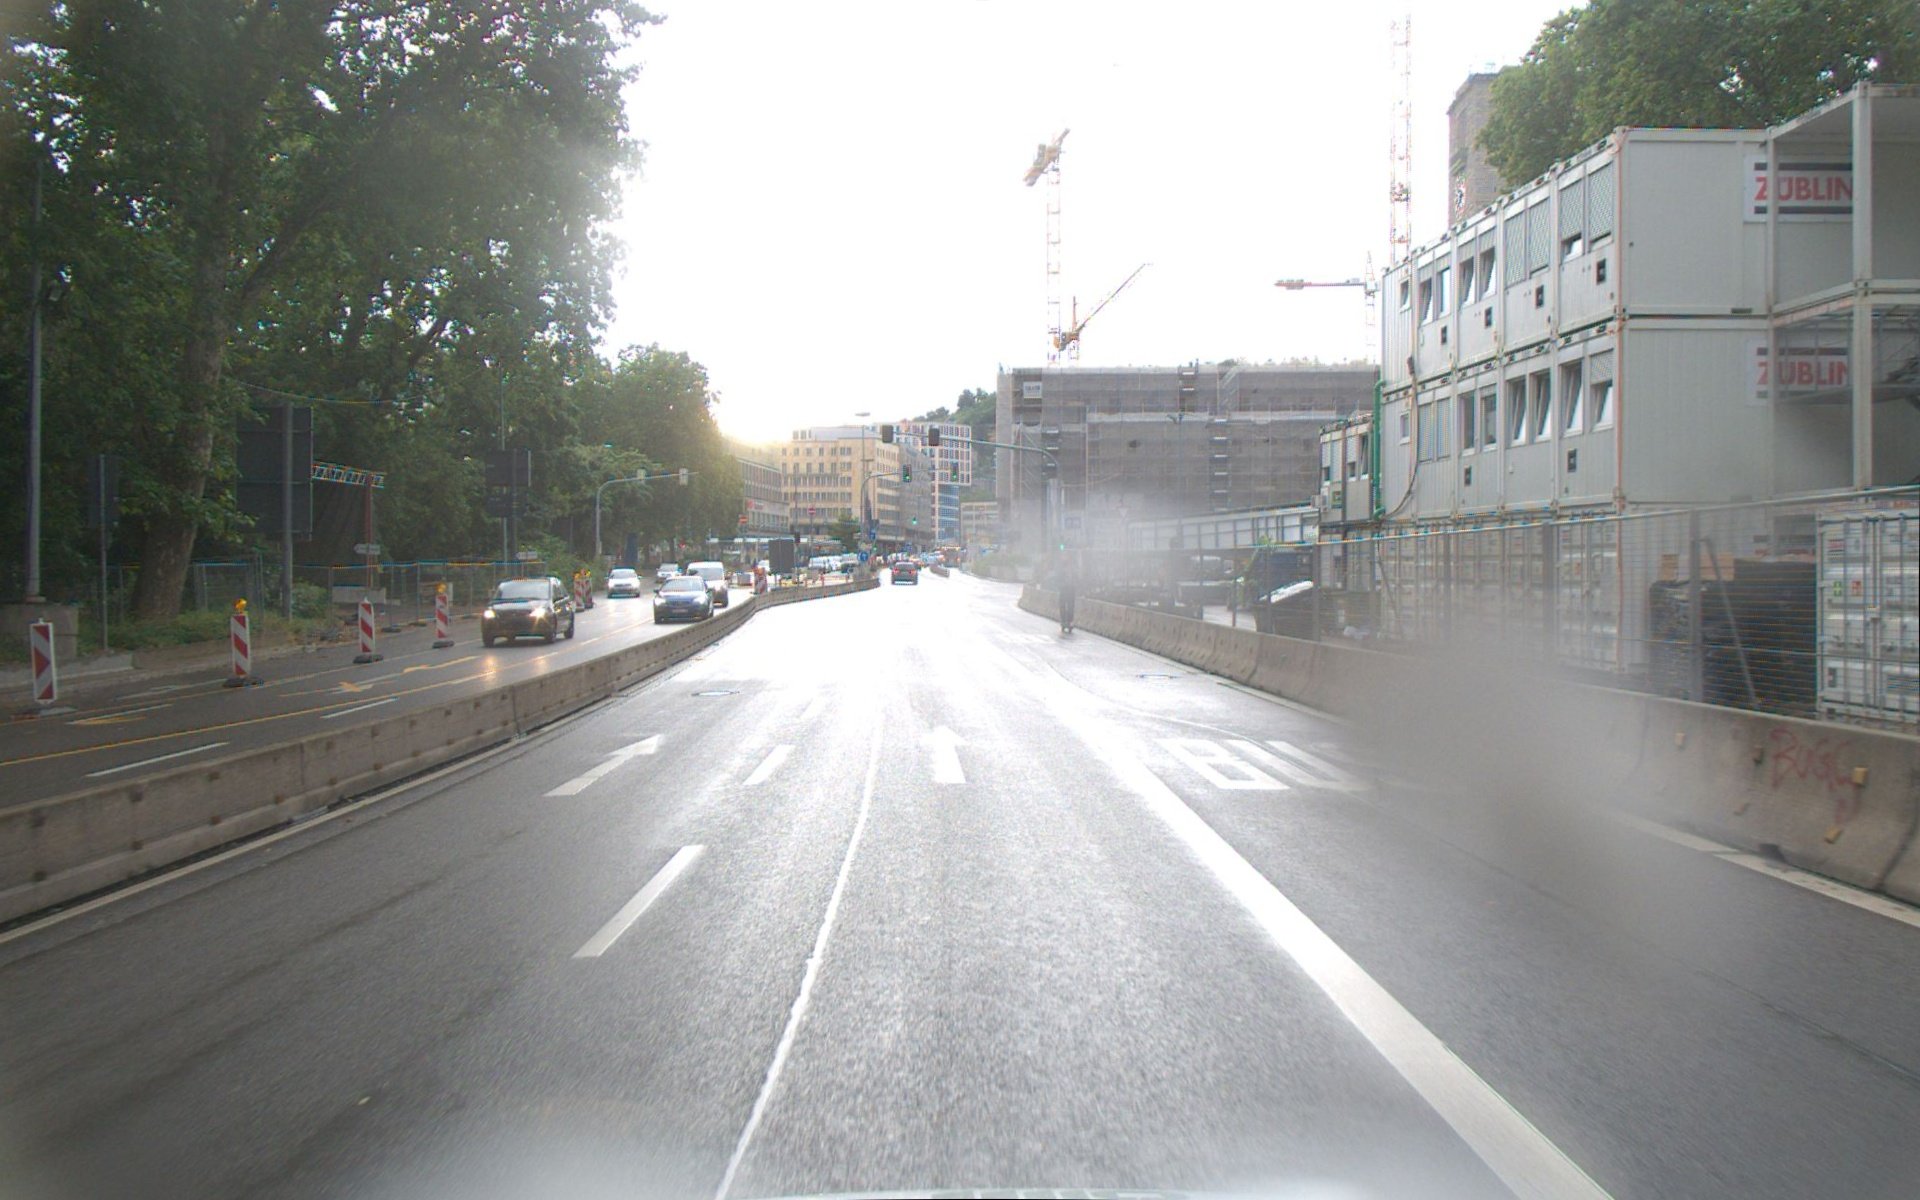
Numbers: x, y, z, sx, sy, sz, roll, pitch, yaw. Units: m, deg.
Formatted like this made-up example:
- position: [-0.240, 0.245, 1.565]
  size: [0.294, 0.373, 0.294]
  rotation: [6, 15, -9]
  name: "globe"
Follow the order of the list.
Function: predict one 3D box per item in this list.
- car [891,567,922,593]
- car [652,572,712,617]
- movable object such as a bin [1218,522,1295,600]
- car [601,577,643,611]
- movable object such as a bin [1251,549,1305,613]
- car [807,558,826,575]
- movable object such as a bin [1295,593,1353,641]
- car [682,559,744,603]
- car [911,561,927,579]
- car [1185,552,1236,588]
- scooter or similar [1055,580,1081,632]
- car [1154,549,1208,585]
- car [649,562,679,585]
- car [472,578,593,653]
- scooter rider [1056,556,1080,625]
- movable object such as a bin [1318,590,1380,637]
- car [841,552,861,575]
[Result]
- position: [-3.646, -1.308, 111.808]
  size: [1.865, 1.554, 4.173]
  rotation: [-2, -1, -5]
  name: "car"
- position: [-9.022, -0.184, 53.916]
  size: [1.679, 1.362, 4.055]
  rotation: [-2, 1, -7]
  name: "car"
- position: [11.272, -1.520, 63.069]
  size: [1.772, 2.858, 3.861]
  rotation: [0, 2, -7]
  name: "movable object such as a bin"
- position: [-18.458, -0.301, 90.375]
  size: [1.840, 1.736, 3.994]
  rotation: [-2, -1, -7]
  name: "car"
- position: [11.385, -0.703, 59.199]
  size: [1.438, 2.241, 1.255]
  rotation: [-1, 3, -26]
  name: "movable object such as a bin"
- position: [-14.576, -3.382, 168.563]
  size: [1.865, 1.554, 4.173]
  rotation: [-2, -1, -5]
  name: "car"
- position: [9.999, 0.461, 45.462]
  size: [1.222, 1.258, 1.238]
  rotation: [-2, -1, -3]
  name: "movable object such as a bin"
- position: [-10.298, -0.793, 69.253]
  size: [1.990, 1.682, 4.909]
  rotation: [-2, 1, -3]
  name: "car"
- position: [-5.054, -3.661, 204.531]
  size: [1.953, 2.049, 3.999]
  rotation: [-2, -1, -1]
  name: "car"
- position: [13.690, -1.652, 90.744]
  size: [1.809, 1.838, 5.085]
  rotation: [0, 3, -3]
  name: "car"
- position: [2.897, 0.154, 44.348]
  size: [0.585, 1.342, 1.667]
  rotation: [0, 1, 0]
  name: "scooter or similar"
- position: [12.859, -1.927, 96.661]
  size: [1.876, 2.009, 5.155]
  rotation: [0, 1, -7]
  name: "car"
- position: [-23.128, -2.022, 129.234]
  size: [1.956, 1.568, 4.438]
  rotation: [-2, -1, -7]
  name: "car"
- position: [-10.742, 0.342, 41.870]
  size: [1.990, 1.682, 4.318]
  rotation: [-1, 2, -2]
  name: "car"
- position: [2.894, -0.267, 44.324]
  size: [0.585, 1.817, 0.997]
  rotation: [0, 1, 0]
  name: "scooter rider"
- position: [9.969, 0.340, 42.454]
  size: [1.222, 1.142, 1.238]
  rotation: [-2, -1, -3]
  name: "movable object such as a bin"
- position: [-11.182, -3.718, 169.420]
  size: [1.865, 2.119, 4.173]
  rotation: [-2, -1, -5]
  name: "car"
